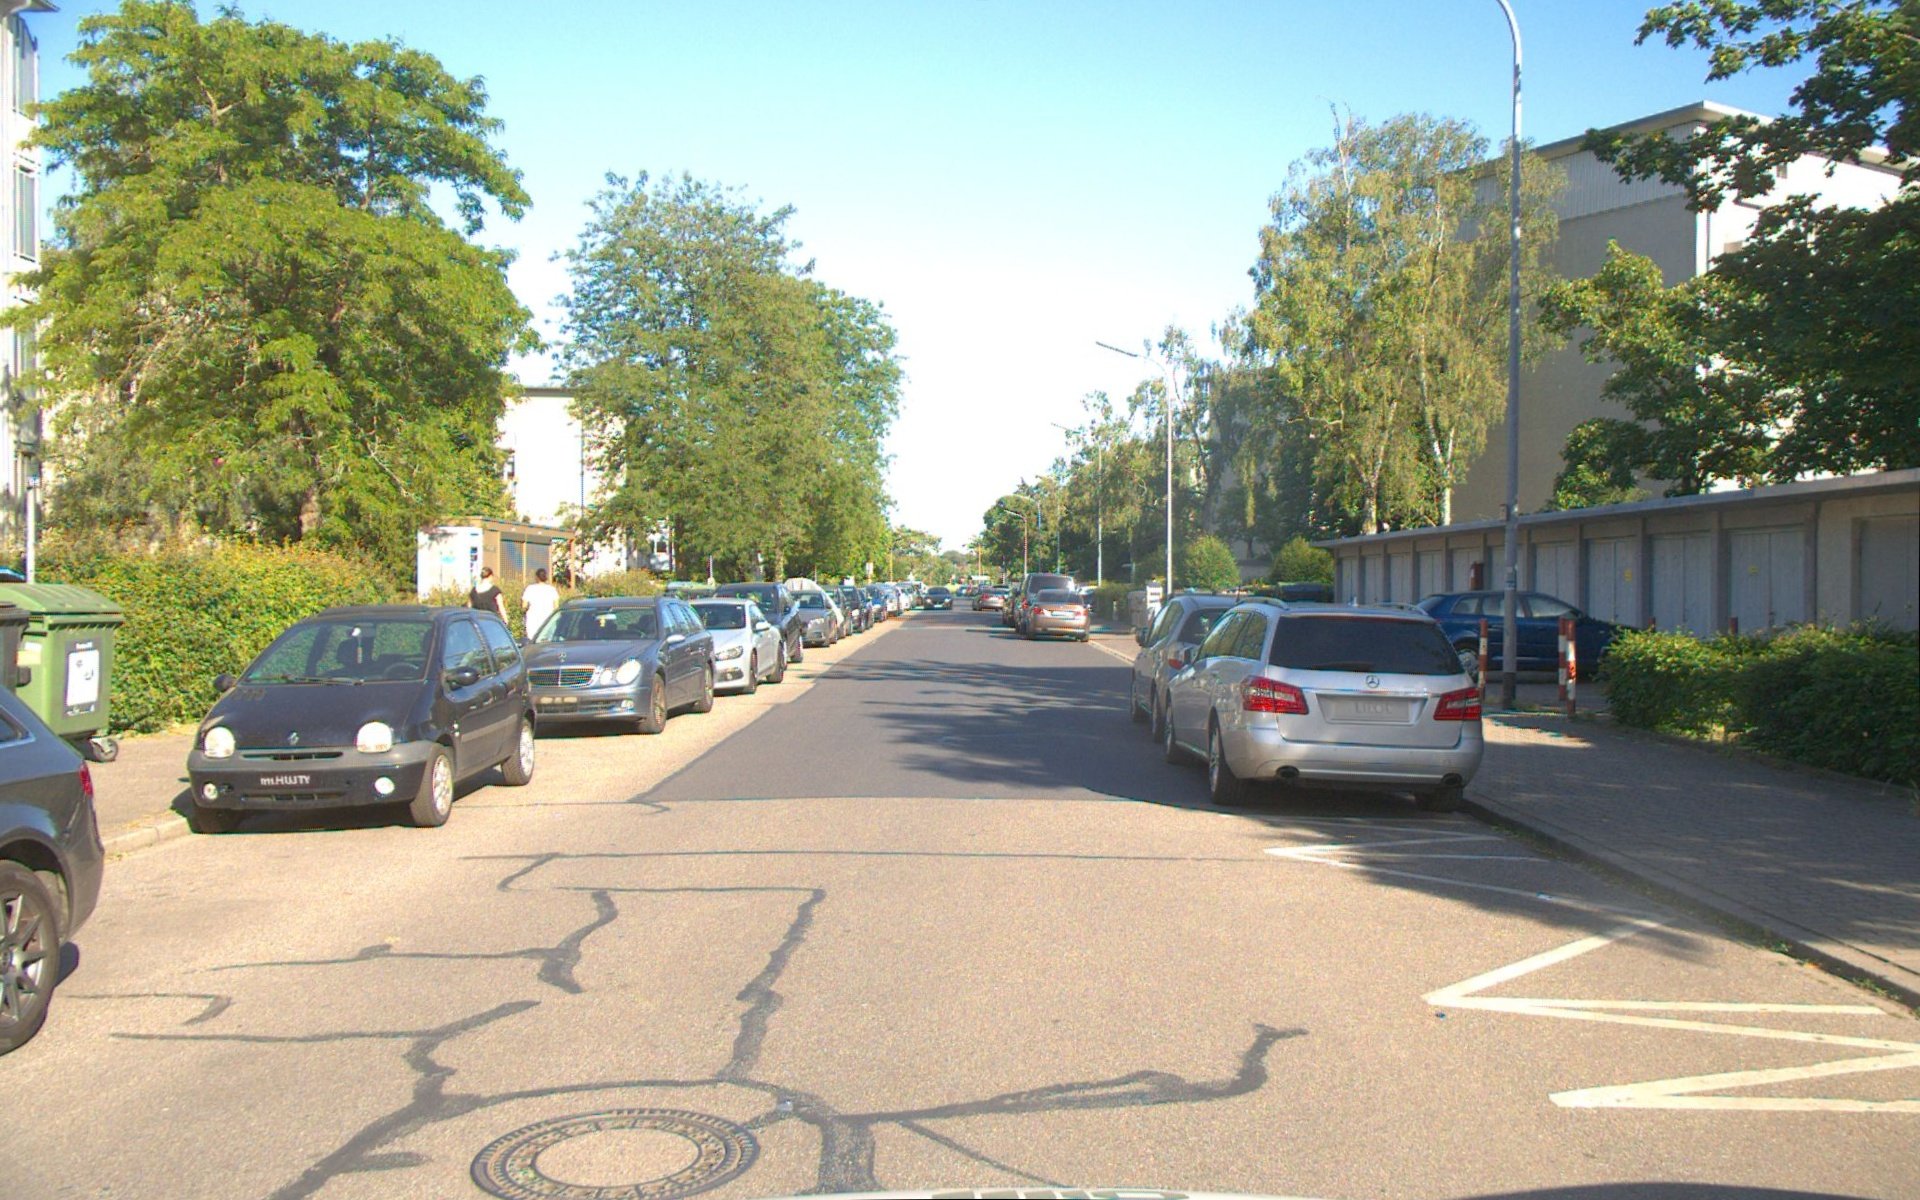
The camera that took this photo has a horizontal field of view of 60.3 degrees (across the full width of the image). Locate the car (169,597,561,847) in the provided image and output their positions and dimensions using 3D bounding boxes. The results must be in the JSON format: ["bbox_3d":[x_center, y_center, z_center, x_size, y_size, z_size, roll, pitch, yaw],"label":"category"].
[{"bbox_3d":[-4.138,0.759,12.085,1.615,1.489,3.495,-1,1,-1],"label":"car"}]

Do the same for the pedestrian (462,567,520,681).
[{"bbox_3d":[-7.168,0.363,25.284,0.706,1.708,0.600,0,0,0],"label":"pedestrian"}]

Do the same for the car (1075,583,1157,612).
[{"bbox_3d":[8.608,-0.150,91.550,4.420,1.540,1.829,-1,0,1],"label":"car"}]

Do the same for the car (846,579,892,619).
[{"bbox_3d":[-3.989,-0.059,72.811,1.718,1.634,3.969,-2,0,1],"label":"car"}]

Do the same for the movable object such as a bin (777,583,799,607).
[{"bbox_3d":[-10.744,-0.292,103.248,1.111,1.445,1.361,3,0,1],"label":"movable object such as a bin"}]

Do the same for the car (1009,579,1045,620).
[{"bbox_3d":[2.982,-0.038,74.261,1.458,1.748,2.583,2,0,-1],"label":"car"}]

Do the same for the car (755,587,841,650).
[{"bbox_3d":[-4.069,0.430,42.123,1.718,1.445,4.269,-2,0,0],"label":"car"}]

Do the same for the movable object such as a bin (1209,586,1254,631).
[{"bbox_3d":[8.447,0.264,51.521,1.249,1.389,1.133,0,0,3],"label":"movable object such as a bin"}]

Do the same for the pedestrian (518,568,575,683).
[{"bbox_3d":[-6.226,0.371,24.928,0.706,1.708,0.616,0,0,0],"label":"pedestrian"}]

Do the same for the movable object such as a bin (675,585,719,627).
[{"bbox_3d":[-8.388,0.183,52.795,1.153,1.310,1.343,1,0,0],"label":"movable object such as a bin"}]

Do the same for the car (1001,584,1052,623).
[{"bbox_3d":[2.653,0.110,66.981,1.697,1.516,4.499,-1,1,-3],"label":"car"}]

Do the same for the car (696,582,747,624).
[{"bbox_3d":[-9.357,0.102,65.197,1.539,1.552,3.998,1,0,-2],"label":"car"}]

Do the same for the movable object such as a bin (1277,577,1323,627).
[{"bbox_3d":[10.753,0.062,52.314,1.249,1.491,1.134,0,4,3],"label":"movable object such as a bin"}]

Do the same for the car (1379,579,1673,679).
[{"bbox_3d":[9.043,0.449,26.611,4.099,1.521,1.817,1,0,-3],"label":"car"}]

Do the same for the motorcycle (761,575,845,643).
[{"bbox_3d":[-4.333,0.245,45.908,2.211,1.757,0.932,-2,0,-3],"label":"motorcycle"}]

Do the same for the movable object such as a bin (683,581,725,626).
[{"bbox_3d":[-8.388,0.105,54.247,1.153,1.432,1.343,1,0,0],"label":"movable object such as a bin"}]

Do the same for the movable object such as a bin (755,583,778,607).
[{"bbox_3d":[-12.009,-0.312,102.662,1.153,1.445,1.463,3,0,2],"label":"movable object such as a bin"}]

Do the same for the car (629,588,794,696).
[{"bbox_3d":[-3.690,0.594,25.230,1.718,1.450,4.211,-2,0,2],"label":"car"}]

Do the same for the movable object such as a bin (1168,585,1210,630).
[{"bbox_3d":[7.183,0.239,51.905,1.198,1.389,1.133,0,0,3],"label":"movable object such as a bin"}]

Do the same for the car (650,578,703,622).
[{"bbox_3d":[-11.265,-0.031,65.862,1.539,1.669,3.998,1,0,-2],"label":"car"}]

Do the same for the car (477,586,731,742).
[{"bbox_3d":[-3.982,0.658,19.373,1.718,1.516,4.901,-3,0,2],"label":"car"}]

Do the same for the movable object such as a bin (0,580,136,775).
[{"bbox_3d":[-7.442,0.586,13.250,0.981,1.440,1.326,3,0,-2],"label":"movable object such as a bin"}]

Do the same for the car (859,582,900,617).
[{"bbox_3d":[-4.040,-0.043,83.581,1.864,1.668,4.349,-1,0,0],"label":"car"}]

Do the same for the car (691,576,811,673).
[{"bbox_3d":[-3.953,0.420,31.905,1.718,1.664,4.370,-2,0,0],"label":"car"}]

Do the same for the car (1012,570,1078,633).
[{"bbox_3d":[2.771,0.030,54.618,1.815,1.968,4.704,2,0,-1],"label":"car"}]

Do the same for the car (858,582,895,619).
[{"bbox_3d":[-3.910,0.010,77.792,1.602,1.634,3.534,-1,0,-1],"label":"car"}]

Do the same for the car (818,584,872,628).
[{"bbox_3d":[-4.210,0.206,61.051,1.719,1.506,4.536,-2,0,-1],"label":"car"}]

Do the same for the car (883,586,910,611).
[{"bbox_3d":[-4.057,-0.095,105.795,1.652,1.532,3.816,-1,0,-2],"label":"car"}]

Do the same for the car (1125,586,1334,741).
[{"bbox_3d":[2.883,0.618,18.430,1.767,1.521,3.796,1,1,1],"label":"car"}]

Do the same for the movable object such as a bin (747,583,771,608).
[{"bbox_3d":[-12.128,-0.304,99.801,1.153,1.445,1.463,3,0,2],"label":"movable object such as a bin"}]

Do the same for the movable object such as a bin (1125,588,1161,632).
[{"bbox_3d":[5.846,0.310,52.836,1.004,1.333,1.388,-3,0,10],"label":"movable object such as a bin"}]

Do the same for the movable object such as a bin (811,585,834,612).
[{"bbox_3d":[-7.626,-0.086,91.835,1.113,1.406,1.442,3,0,1],"label":"movable object such as a bin"}]

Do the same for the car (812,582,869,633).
[{"bbox_3d":[-4.004,0.234,55.854,1.719,1.601,3.719,-2,0,-2],"label":"car"}]

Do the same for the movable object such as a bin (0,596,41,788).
[{"bbox_3d":[-7.546,0.657,11.916,1.097,1.390,1.257,3,0,-2],"label":"movable object such as a bin"}]

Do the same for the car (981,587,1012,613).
[{"bbox_3d":[2.278,-0.020,104.832,1.646,1.540,4.102,2,0,-3],"label":"car"}]

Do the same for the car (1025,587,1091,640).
[{"bbox_3d":[2.840,0.362,48.715,1.764,1.443,4.637,1,0,1],"label":"car"}]

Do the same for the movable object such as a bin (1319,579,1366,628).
[{"bbox_3d":[12.079,0.103,52.239,1.249,1.491,1.134,0,4,3],"label":"movable object such as a bin"}]

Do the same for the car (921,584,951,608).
[{"bbox_3d":[-1.555,-0.271,108.045,1.871,1.502,4.570,-1,1,-1],"label":"car"}]

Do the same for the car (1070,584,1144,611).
[{"bbox_3d":[8.838,-0.171,99.759,4.324,1.540,1.829,-1,0,0],"label":"car"}]

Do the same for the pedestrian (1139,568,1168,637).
[{"bbox_3d":[5.538,0.067,47.386,0.689,1.921,0.872,-2,0,1],"label":"pedestrian"}]

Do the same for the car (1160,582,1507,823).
[{"bbox_3d":[2.752,0.654,13.259,1.793,1.573,4.641,1,1,1],"label":"car"}]

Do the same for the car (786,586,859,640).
[{"bbox_3d":[-4.115,0.359,49.965,1.718,1.506,3.960,-2,0,1],"label":"car"}]

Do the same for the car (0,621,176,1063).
[{"bbox_3d":[-3.944,0.802,4.211,1.718,1.409,4.673,-1,0,-1],"label":"car"}]
